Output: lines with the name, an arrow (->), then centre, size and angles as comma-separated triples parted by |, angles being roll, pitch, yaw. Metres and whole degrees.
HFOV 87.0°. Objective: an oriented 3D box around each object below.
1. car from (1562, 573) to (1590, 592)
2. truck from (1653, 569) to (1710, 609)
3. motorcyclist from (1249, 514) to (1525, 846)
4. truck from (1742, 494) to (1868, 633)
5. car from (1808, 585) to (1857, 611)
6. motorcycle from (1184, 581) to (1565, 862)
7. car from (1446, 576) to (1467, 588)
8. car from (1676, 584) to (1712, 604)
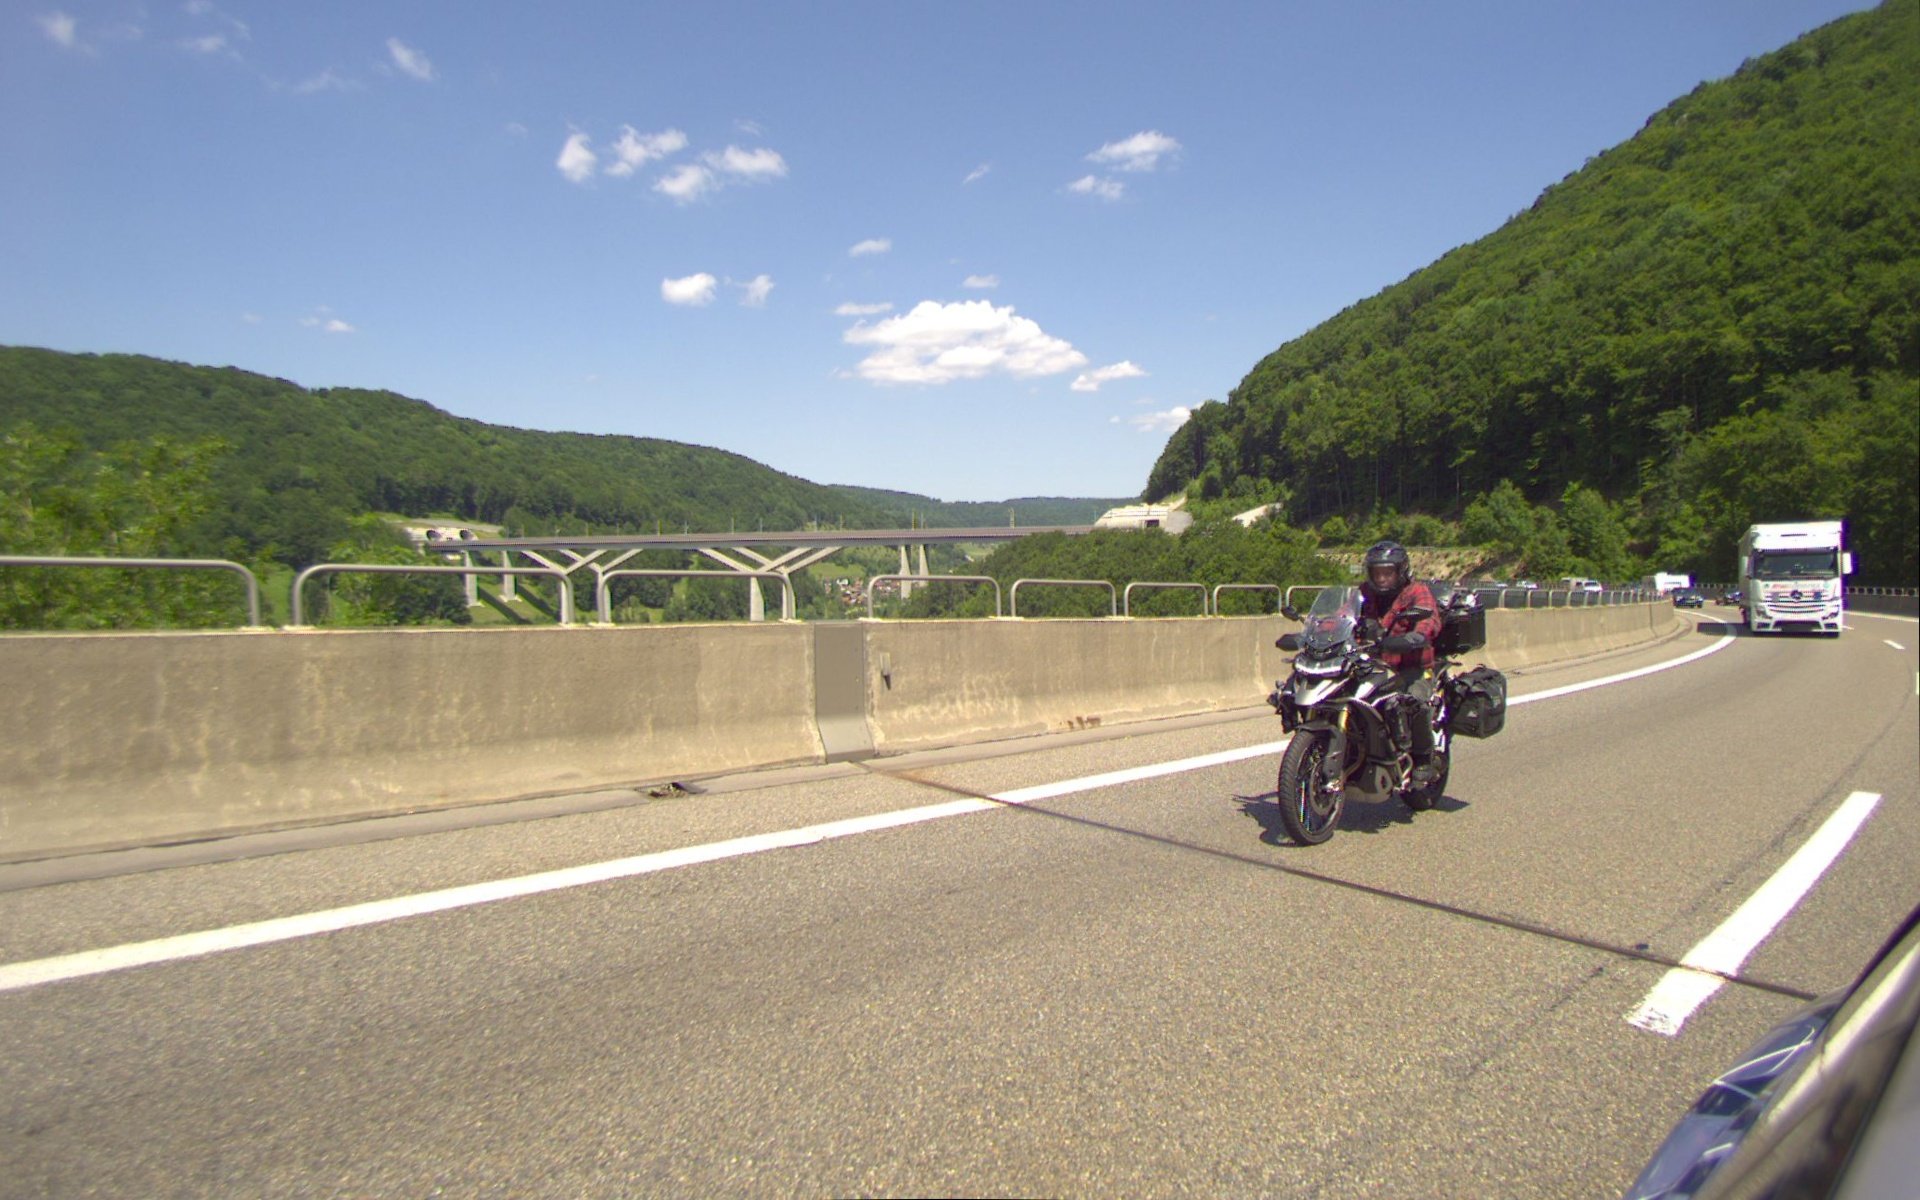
car -> 72.333, -2.038, 118.852 | 1.974, 2.039, 3.976 | 1, 0, 18
truck -> 59.208, -0.951, 83.211 | 2.592, 3.141, 6.795 | 1, 1, 25
motorcyclist -> 2.680, 0.426, 6.368 | 1.313, 1.823, 1.064 | 0, 1, -36
truck -> 31.591, -1.187, 37.923 | 2.957, 4.184, 16.465 | 1, 1, 40
car -> 53.760, -0.151, 62.405 | 1.744, 1.507, 3.935 | 2, 1, 33
motorcycle -> 2.677, 0.616, 6.369 | 2.630, 1.437, 0.975 | 0, 1, -36
car -> 86.046, -3.074, 175.294 | 1.966, 2.039, 3.993 | 1, 1, 7
car -> 56.878, -0.471, 78.433 | 1.741, 1.507, 3.942 | 1, 1, 29
